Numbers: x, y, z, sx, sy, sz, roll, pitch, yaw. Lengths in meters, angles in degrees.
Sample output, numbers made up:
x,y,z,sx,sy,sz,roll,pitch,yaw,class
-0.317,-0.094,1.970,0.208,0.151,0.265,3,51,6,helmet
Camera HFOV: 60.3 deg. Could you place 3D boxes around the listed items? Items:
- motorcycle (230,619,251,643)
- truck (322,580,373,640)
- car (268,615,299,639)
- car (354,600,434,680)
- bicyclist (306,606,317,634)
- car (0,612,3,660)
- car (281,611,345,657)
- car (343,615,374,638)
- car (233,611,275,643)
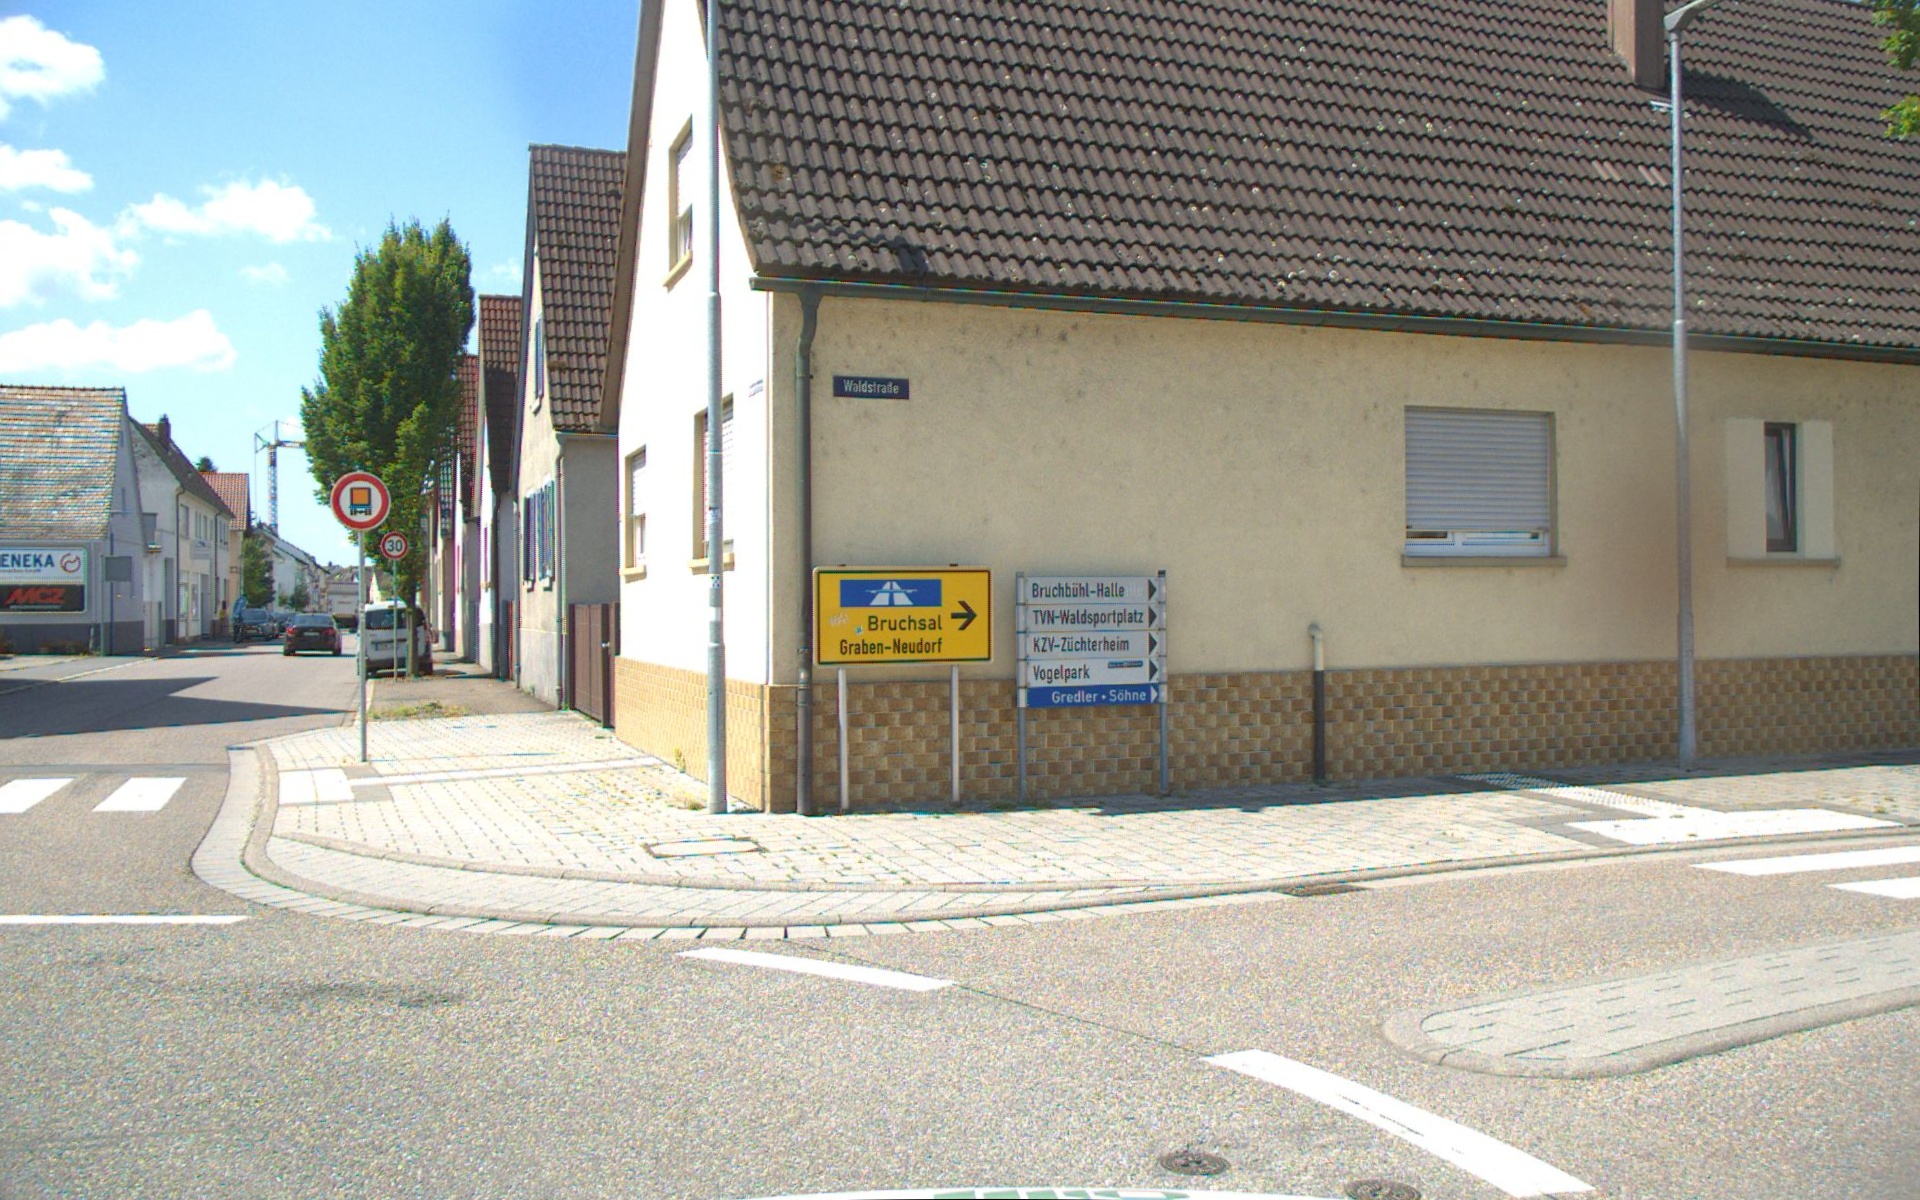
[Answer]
x,y,z,sx,sy,sz,roll,pitch,yaw,class
-35.970,1.543,82.702,0.834,1.190,2.454,2,-2,-21,motorcycle
-46.103,0.794,124.738,3.096,4.325,9.252,1,-1,-18,truck
-44.982,1.781,110.045,1.783,1.617,3.976,0,-1,-20,car
-14.004,0.947,40.813,1.695,1.821,4.117,-2,0,-21,car
-49.516,1.551,126.354,0.730,2.095,0.838,2,-2,-23,bicyclist
-31.418,1.139,51.897,1.695,1.583,4.172,1,-1,-21,car
-23.019,1.178,58.958,1.873,1.591,4.452,0,0,-18,car
-36.798,1.579,101.221,1.694,1.379,4.133,0,-1,-19,car
-36.934,1.388,86.577,1.783,1.617,3.976,0,-1,-20,car
